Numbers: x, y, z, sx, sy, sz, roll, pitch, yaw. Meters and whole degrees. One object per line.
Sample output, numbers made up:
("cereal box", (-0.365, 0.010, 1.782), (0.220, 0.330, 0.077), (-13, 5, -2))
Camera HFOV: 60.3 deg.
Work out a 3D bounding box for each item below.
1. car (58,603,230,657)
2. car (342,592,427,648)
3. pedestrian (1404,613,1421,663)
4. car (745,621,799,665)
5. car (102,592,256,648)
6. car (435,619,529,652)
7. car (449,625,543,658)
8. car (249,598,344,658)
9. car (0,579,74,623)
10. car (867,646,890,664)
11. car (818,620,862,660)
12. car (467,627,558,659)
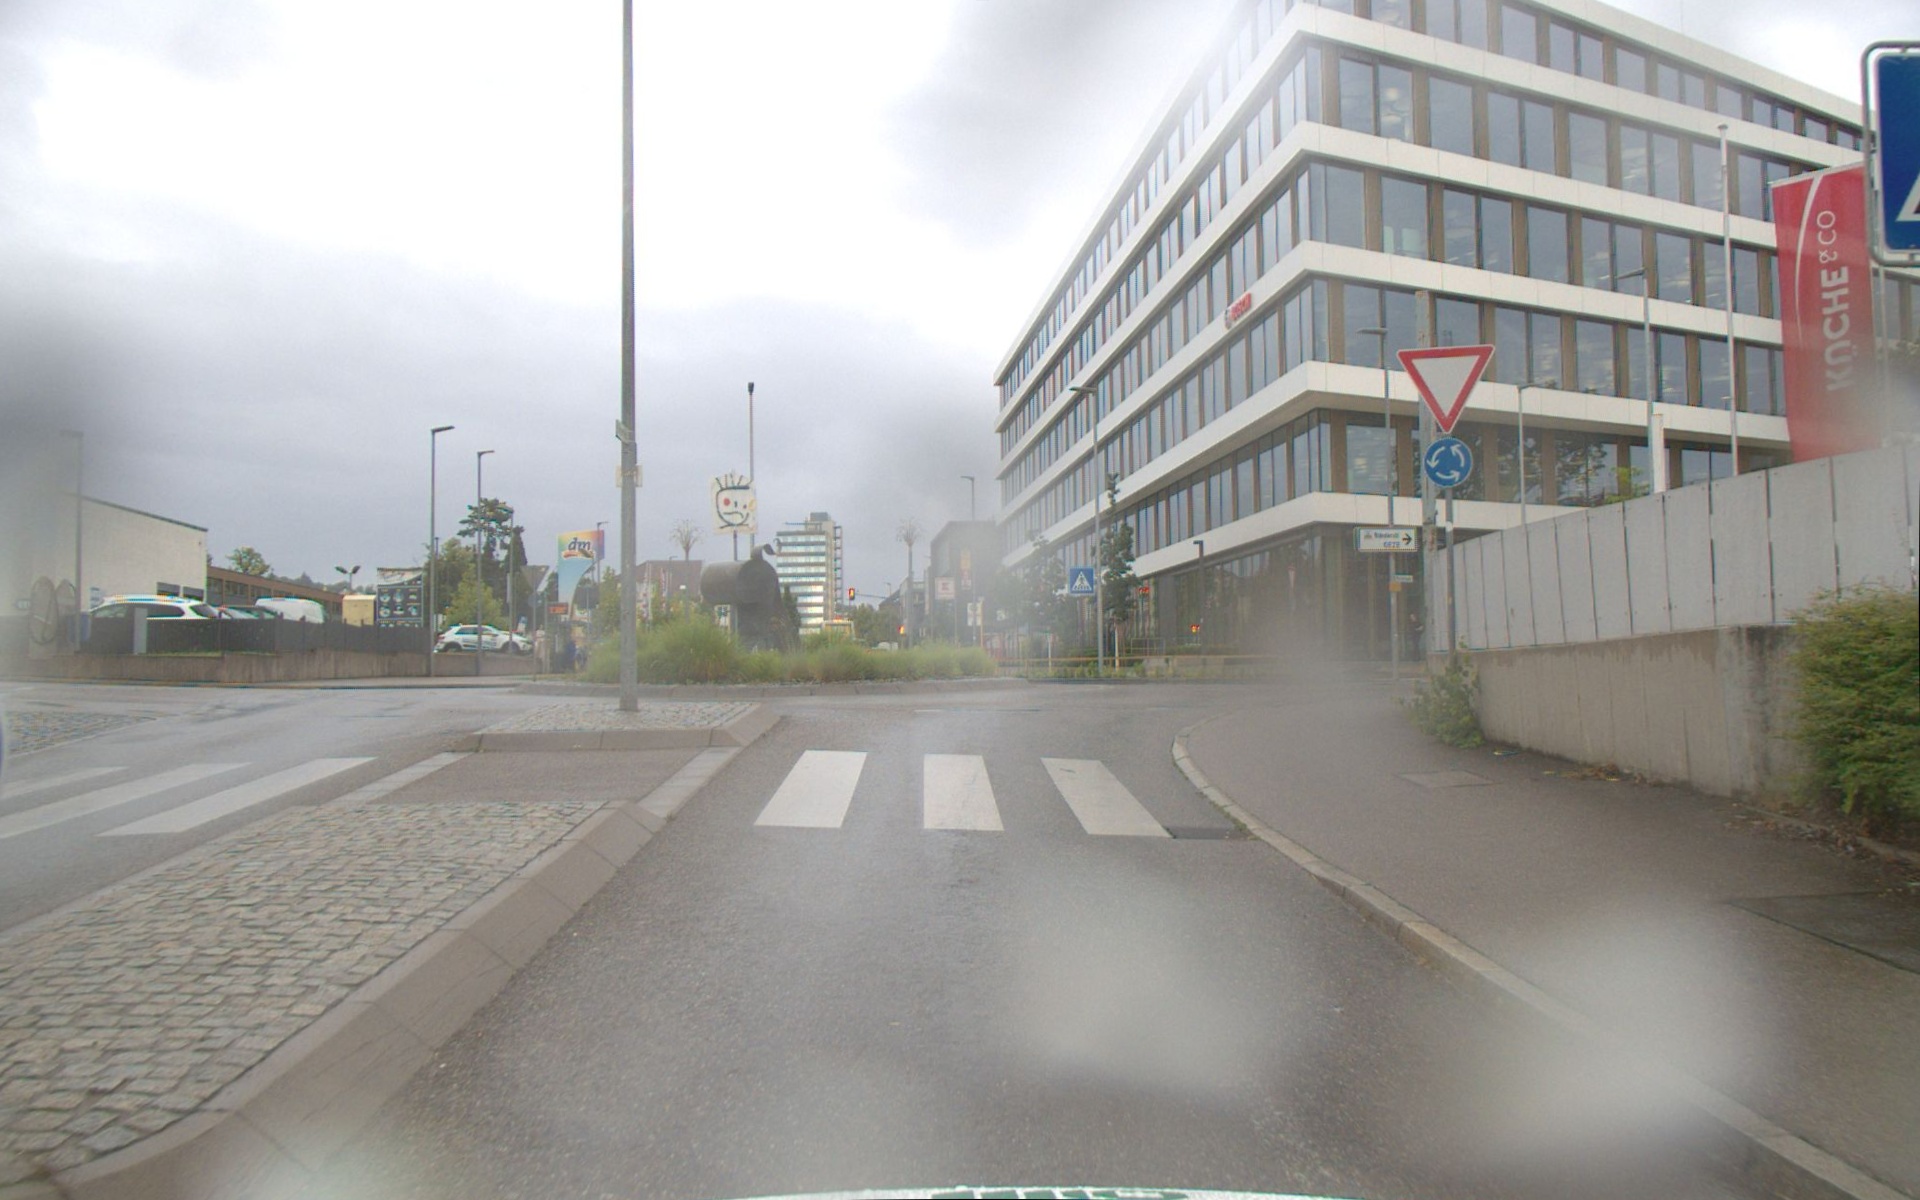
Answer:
("car", (-21.044, 0.796, 42.794), (3.462, 1.308, 1.997), (1, -3, -6))
("car", (-22.297, 0.735, 64.273), (1.955, 2.049, 4.994), (0, 0, -6))
("pedestrian", (17.085, 1.427, 62.400), (0.581, 1.876, 0.454), (-1, -3, 18))
("car", (-6.743, 1.525, 59.610), (1.562, 1.434, 3.500), (1, 1, 0))
("car", (-21.364, 0.555, 45.337), (3.462, 1.445, 1.427), (1, -3, -6))
("car", (-21.720, 1.627, 75.226), (3.951, 1.445, 1.763), (1, -3, -12))
("car", (-21.688, 1.954, 77.387), (3.944, 1.445, 1.766), (1, -3, -6))
("car", (-24.192, 0.987, 60.505), (1.955, 2.049, 4.993), (0, 0, -6))
("car", (-32.058, 0.012, 55.837), (3.462, 1.445, 1.427), (0, 0, -6))
("car", (-7.048, 4.797, 143.114), (1.760, 1.434, 4.209), (1, -3, -6))
("car", (-6.033, 2.055, 83.795), (1.953, 1.937, 3.999), (0, -3, 0))
("car", (-21.468, 2.066, 79.437), (3.944, 1.445, 1.766), (1, -3, -6))
